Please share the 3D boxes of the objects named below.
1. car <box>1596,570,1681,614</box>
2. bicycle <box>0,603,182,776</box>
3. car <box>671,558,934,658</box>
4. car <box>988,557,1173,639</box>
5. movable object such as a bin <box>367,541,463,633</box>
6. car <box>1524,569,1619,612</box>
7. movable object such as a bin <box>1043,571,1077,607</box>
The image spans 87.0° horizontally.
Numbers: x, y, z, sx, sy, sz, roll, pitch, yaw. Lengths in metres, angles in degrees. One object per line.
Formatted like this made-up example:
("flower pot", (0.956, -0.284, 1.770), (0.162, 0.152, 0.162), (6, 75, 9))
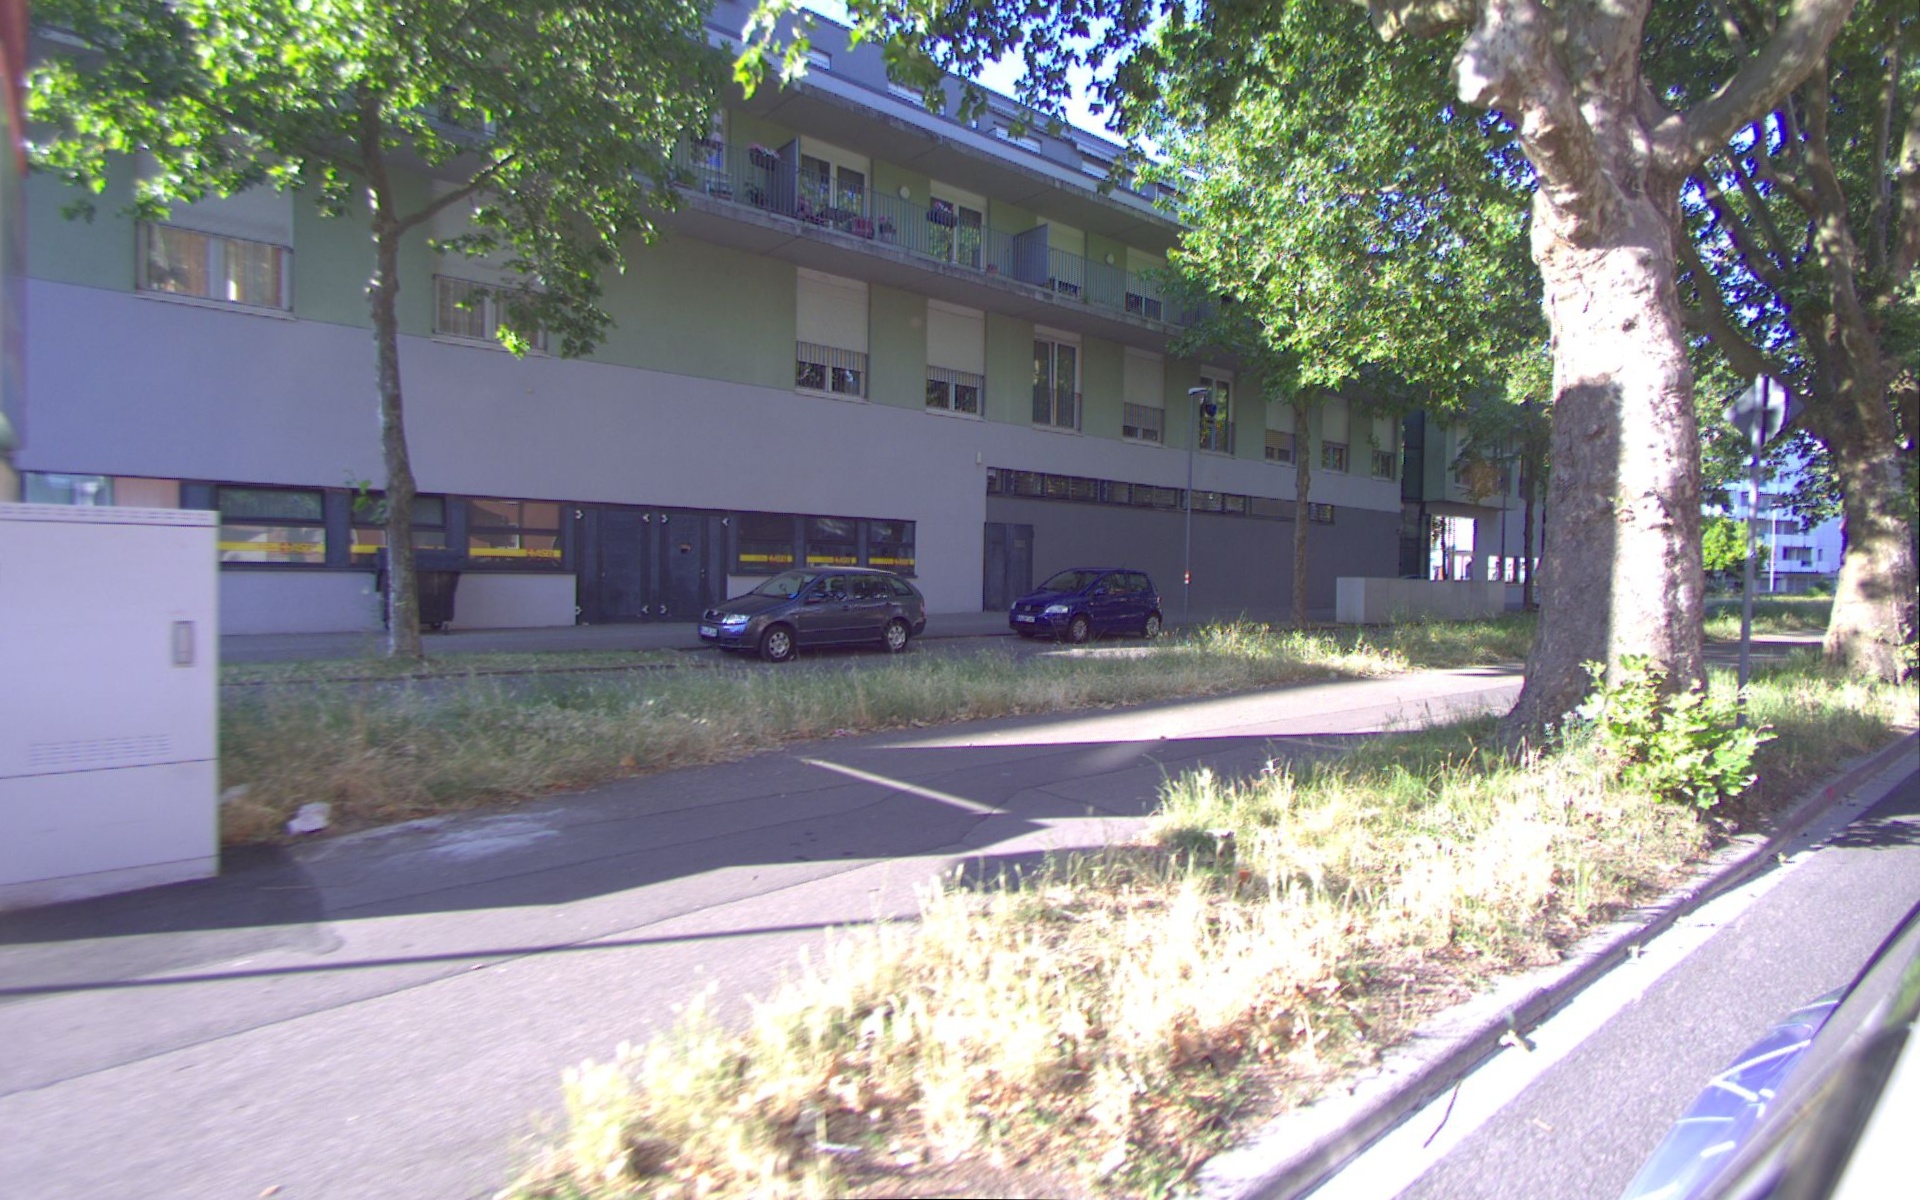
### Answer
("car", (29.457, -0.366, 43.899), (4.243, 1.793, 1.909), (0, 2, -40))
("bicycle", (-5.878, 0.551, 6.409), (0.381, 1.016, 1.469), (2, 2, 33))
("car", (-2.577, 0.075, 17.095), (4.053, 1.486, 1.862), (0, 2, -42))
("car", (2.591, -0.085, 21.460), (3.693, 1.572, 1.863), (0, 2, -40))
("movable object such as a bin", (-9.236, -0.226, 17.177), (1.379, 1.481, 1.199), (0, 2, -28))
("car", (23.852, -0.370, 39.431), (4.243, 1.562, 1.863), (0, 2, -40))
("movable object such as a bin", (2.757, -0.302, 27.794), (0.651, 0.954, 0.630), (0, 2, -39))
